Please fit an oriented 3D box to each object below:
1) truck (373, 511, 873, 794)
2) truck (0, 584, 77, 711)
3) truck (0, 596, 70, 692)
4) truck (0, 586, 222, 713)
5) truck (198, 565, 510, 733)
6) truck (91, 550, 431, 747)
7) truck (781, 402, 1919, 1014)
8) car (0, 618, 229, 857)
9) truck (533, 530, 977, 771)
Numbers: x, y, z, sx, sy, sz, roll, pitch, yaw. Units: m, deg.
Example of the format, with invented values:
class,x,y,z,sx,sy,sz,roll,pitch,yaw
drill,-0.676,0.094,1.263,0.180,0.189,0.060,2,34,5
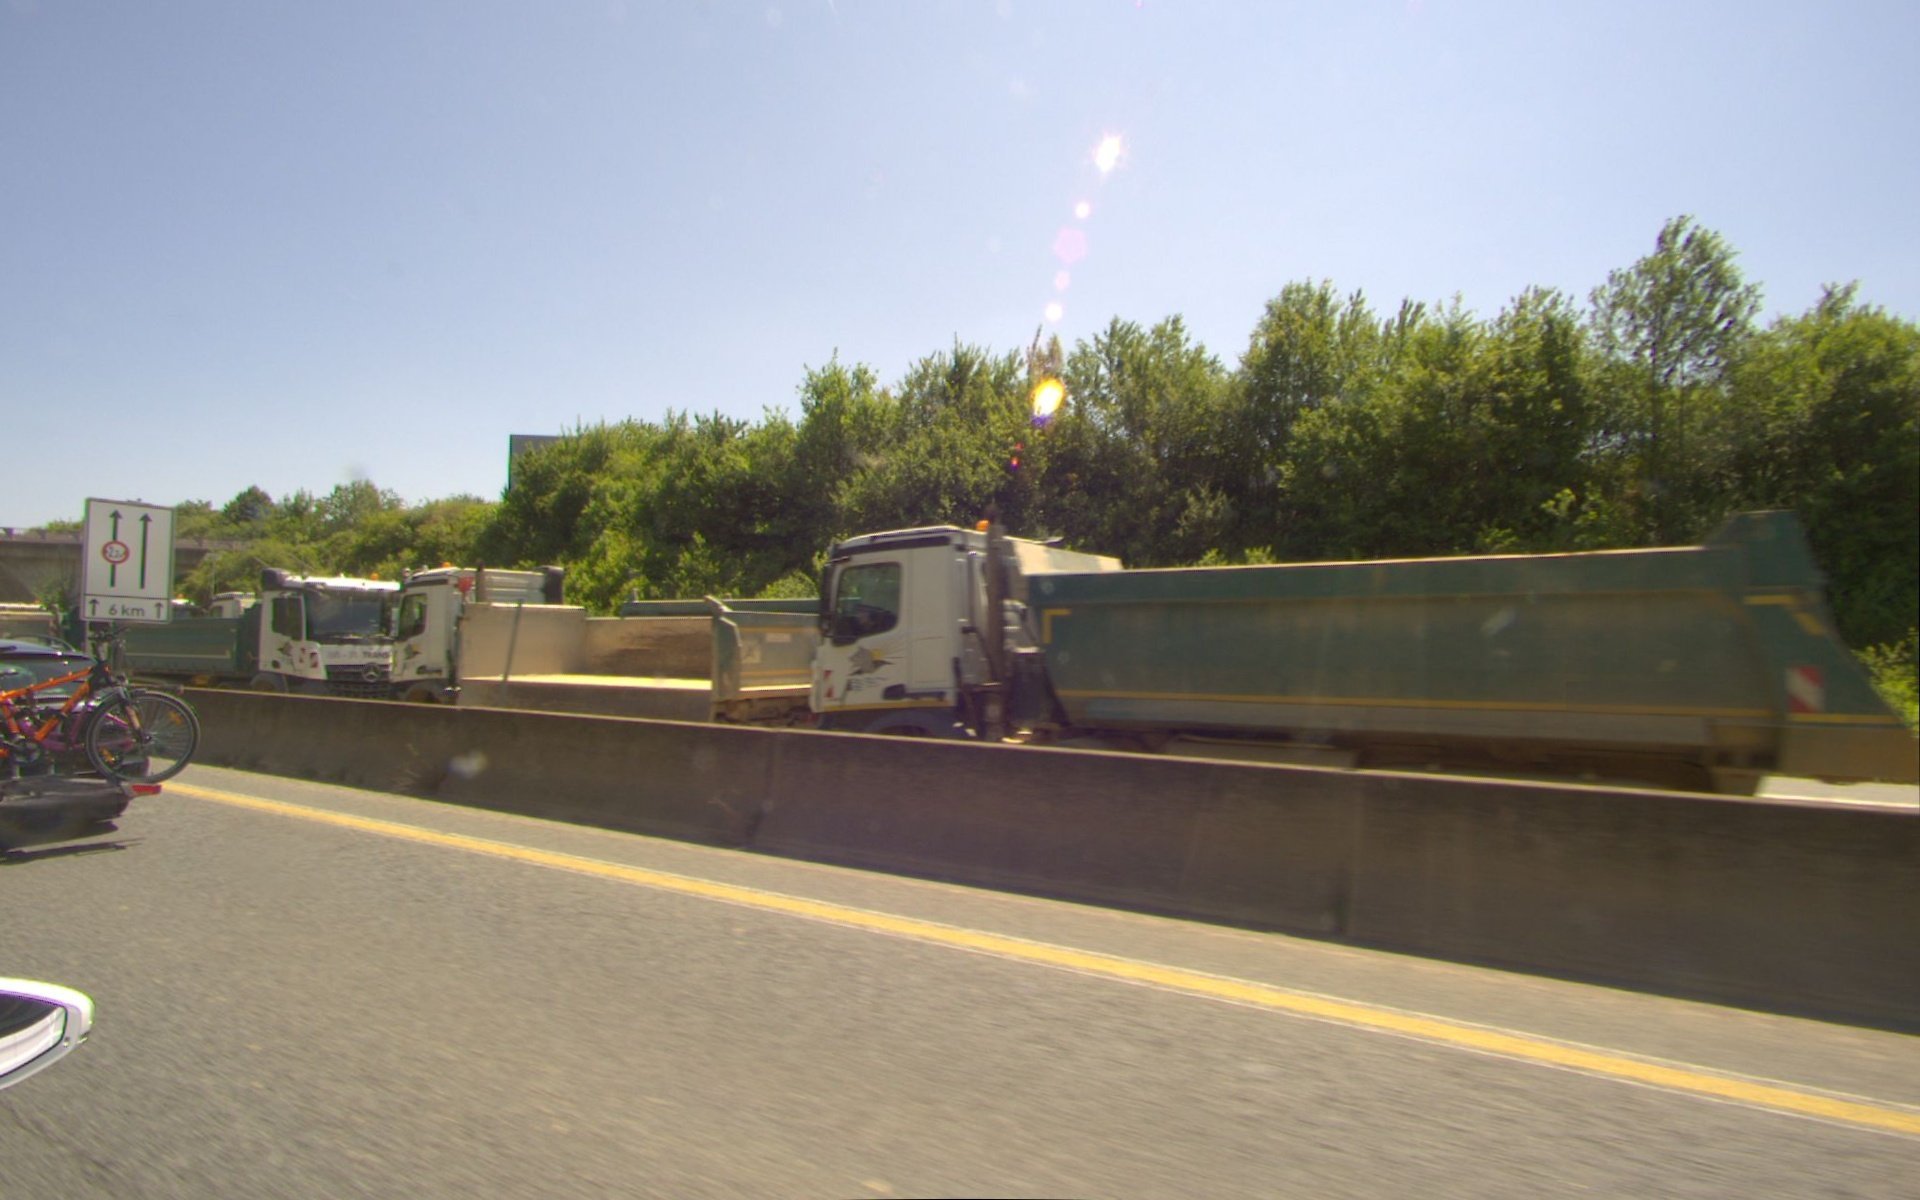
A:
class,x,y,z,sx,sy,sz,roll,pitch,yaw
truck,-5.688,0.757,16.020,8.815,3.555,2.530,-1,-2,32
truck,-30.982,1.408,31.115,9.464,3.602,2.683,-1,-2,32
truck,-38.011,1.667,38.885,9.466,3.420,2.683,-1,-2,33
truck,-27.400,1.512,32.093,9.463,3.602,2.683,-1,-2,32
truck,-15.434,1.166,25.160,9.464,3.602,2.683,-1,-2,32
truck,-15.533,0.996,21.923,9.463,3.602,2.535,-1,-2,32
truck,2.608,0.719,9.159,8.965,3.555,2.530,-1,-2,32
car,-7.958,0.928,7.901,4.877,1.509,1.896,-1,-3,33
truck,-3.928,0.843,18.103,8.259,3.555,2.684,-1,-2,32
